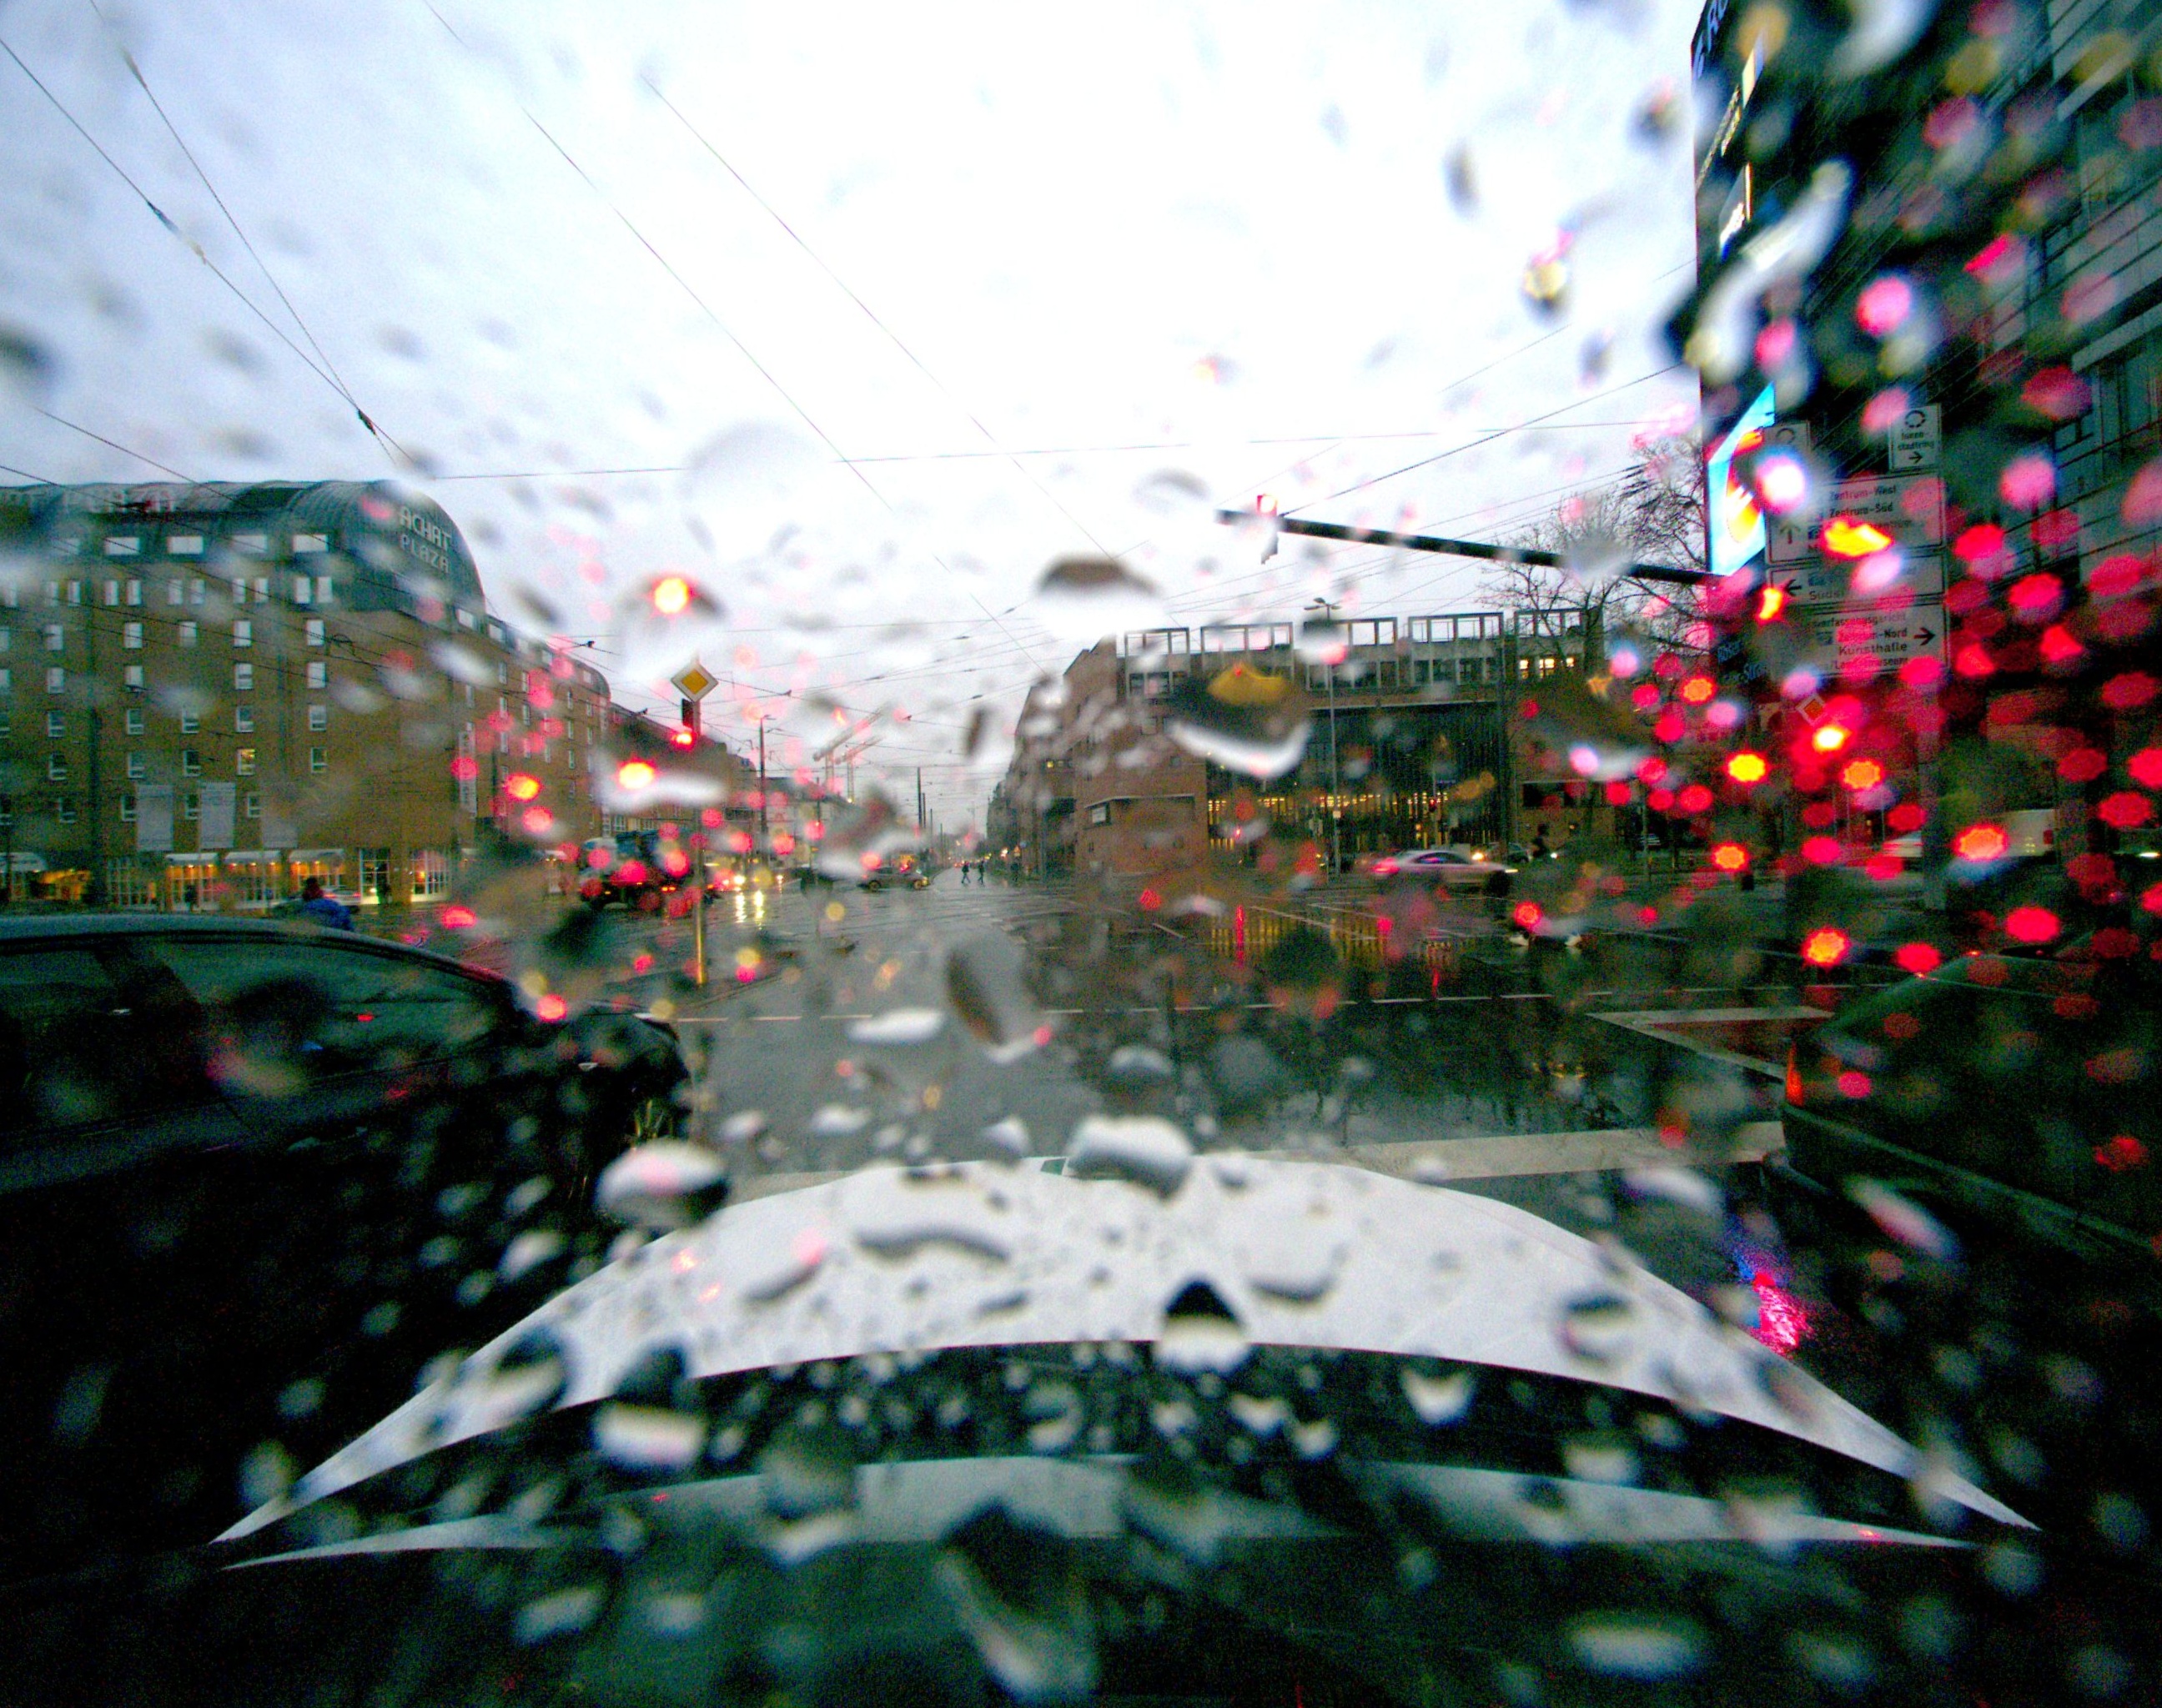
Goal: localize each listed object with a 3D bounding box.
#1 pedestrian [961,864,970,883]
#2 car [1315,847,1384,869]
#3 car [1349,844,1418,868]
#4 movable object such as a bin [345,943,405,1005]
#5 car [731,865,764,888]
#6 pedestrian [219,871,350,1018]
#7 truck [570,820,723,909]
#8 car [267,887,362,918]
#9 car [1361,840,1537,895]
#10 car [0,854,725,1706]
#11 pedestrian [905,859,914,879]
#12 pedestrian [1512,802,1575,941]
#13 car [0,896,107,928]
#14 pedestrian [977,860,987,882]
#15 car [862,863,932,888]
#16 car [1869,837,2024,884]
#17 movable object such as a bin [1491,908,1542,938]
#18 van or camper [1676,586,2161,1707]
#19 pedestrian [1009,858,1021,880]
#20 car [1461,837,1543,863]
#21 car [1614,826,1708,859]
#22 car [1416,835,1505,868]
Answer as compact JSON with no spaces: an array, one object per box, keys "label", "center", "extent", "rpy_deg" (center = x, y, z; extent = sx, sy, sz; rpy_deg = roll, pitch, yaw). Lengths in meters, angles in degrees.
[{"label":"pedestrian","center":[-9.428,1.585,66.564],"extent":[0.700,1.484,0.574],"rpy_deg":[-2,0,-9]},{"label":"car","center":[18.250,0.288,55.462],"extent":[3.977,1.310,1.998],"rpy_deg":[-2,0,-2]},{"label":"car","center":[19.148,0.117,51.611],"extent":[3.713,1.263,1.845],"rpy_deg":[-2,4,-4]},{"label":"movable object such as a bin","center":[-8.915,1.505,10.284],"extent":[0.541,0.699,0.407],"rpy_deg":[-2,-2,-44]},{"label":"car","center":[-29.362,1.988,71.866],"extent":[1.995,1.861,3.983],"rpy_deg":[-2,0,-12]},{"label":"pedestrian","center":[-9.561,1.053,9.811],"extent":[1.043,1.601,0.707],"rpy_deg":[-3,-1,-44]},{"label":"truck","center":[-19.438,0.507,36.227],"extent":[7.429,3.633,2.867],"rpy_deg":[-2,0,35]},{"label":"car","center":[-39.558,2.496,42.058],"extent":[3.957,1.447,1.718],"rpy_deg":[-1,0,15]},{"label":"car","center":[12.398,0.447,27.716],"extent":[4.967,1.607,2.255],"rpy_deg":[-2,0,3]},{"label":"car","center":[-2.710,0.768,2.159],"extent":[1.623,1.523,3.944],"rpy_deg":[0,0,3]},{"label":"pedestrian","center":[-15.754,1.374,74.805],"extent":[0.694,1.724,0.762],"rpy_deg":[-2,0,-13]},{"label":"pedestrian","center":[7.461,0.282,13.160],"extent":[0.574,2.184,0.619],"rpy_deg":[-1,-1,-4]},{"label":"car","center":[-54.836,3.065,43.262],"extent":[3.741,1.459,1.699],"rpy_deg":[-2,0,-7]},{"label":"pedestrian","center":[-7.926,1.362,65.144],"extent":[0.665,1.725,0.487],"rpy_deg":[-2,0,-9]},{"label":"car","center":[-11.154,1.281,49.286],"extent":[3.998,1.441,1.704],"rpy_deg":[-1,0,-18]},{"label":"car","center":[32.973,0.238,31.048],"extent":[4.827,1.561,2.040],"rpy_deg":[-2,0,-16]},{"label":"movable object such as a bin","center":[7.315,1.156,13.688],"extent":[0.676,0.469,0.312],"rpy_deg":[-1,-1,-4]},{"label":"van or camper","center":[2.672,0.493,0.317],"extent":[1.750,1.906,4.420],"rpy_deg":[-1,0,2]},{"label":"pedestrian","center":[-5.333,1.203,65.857],"extent":[0.843,1.687,0.647],"rpy_deg":[-2,0,-9]},{"label":"car","center":[24.822,-0.259,48.094],"extent":[3.979,1.288,1.845],"rpy_deg":[-2,4,-4]},{"label":"car","center":[32.250,-0.658,45.345],"extent":[3.979,1.600,1.845],"rpy_deg":[-2,4,-4]},{"label":"car","center":[20.432,-0.158,43.903],"extent":[3.979,1.504,1.845],"rpy_deg":[-2,4,-4]}]
